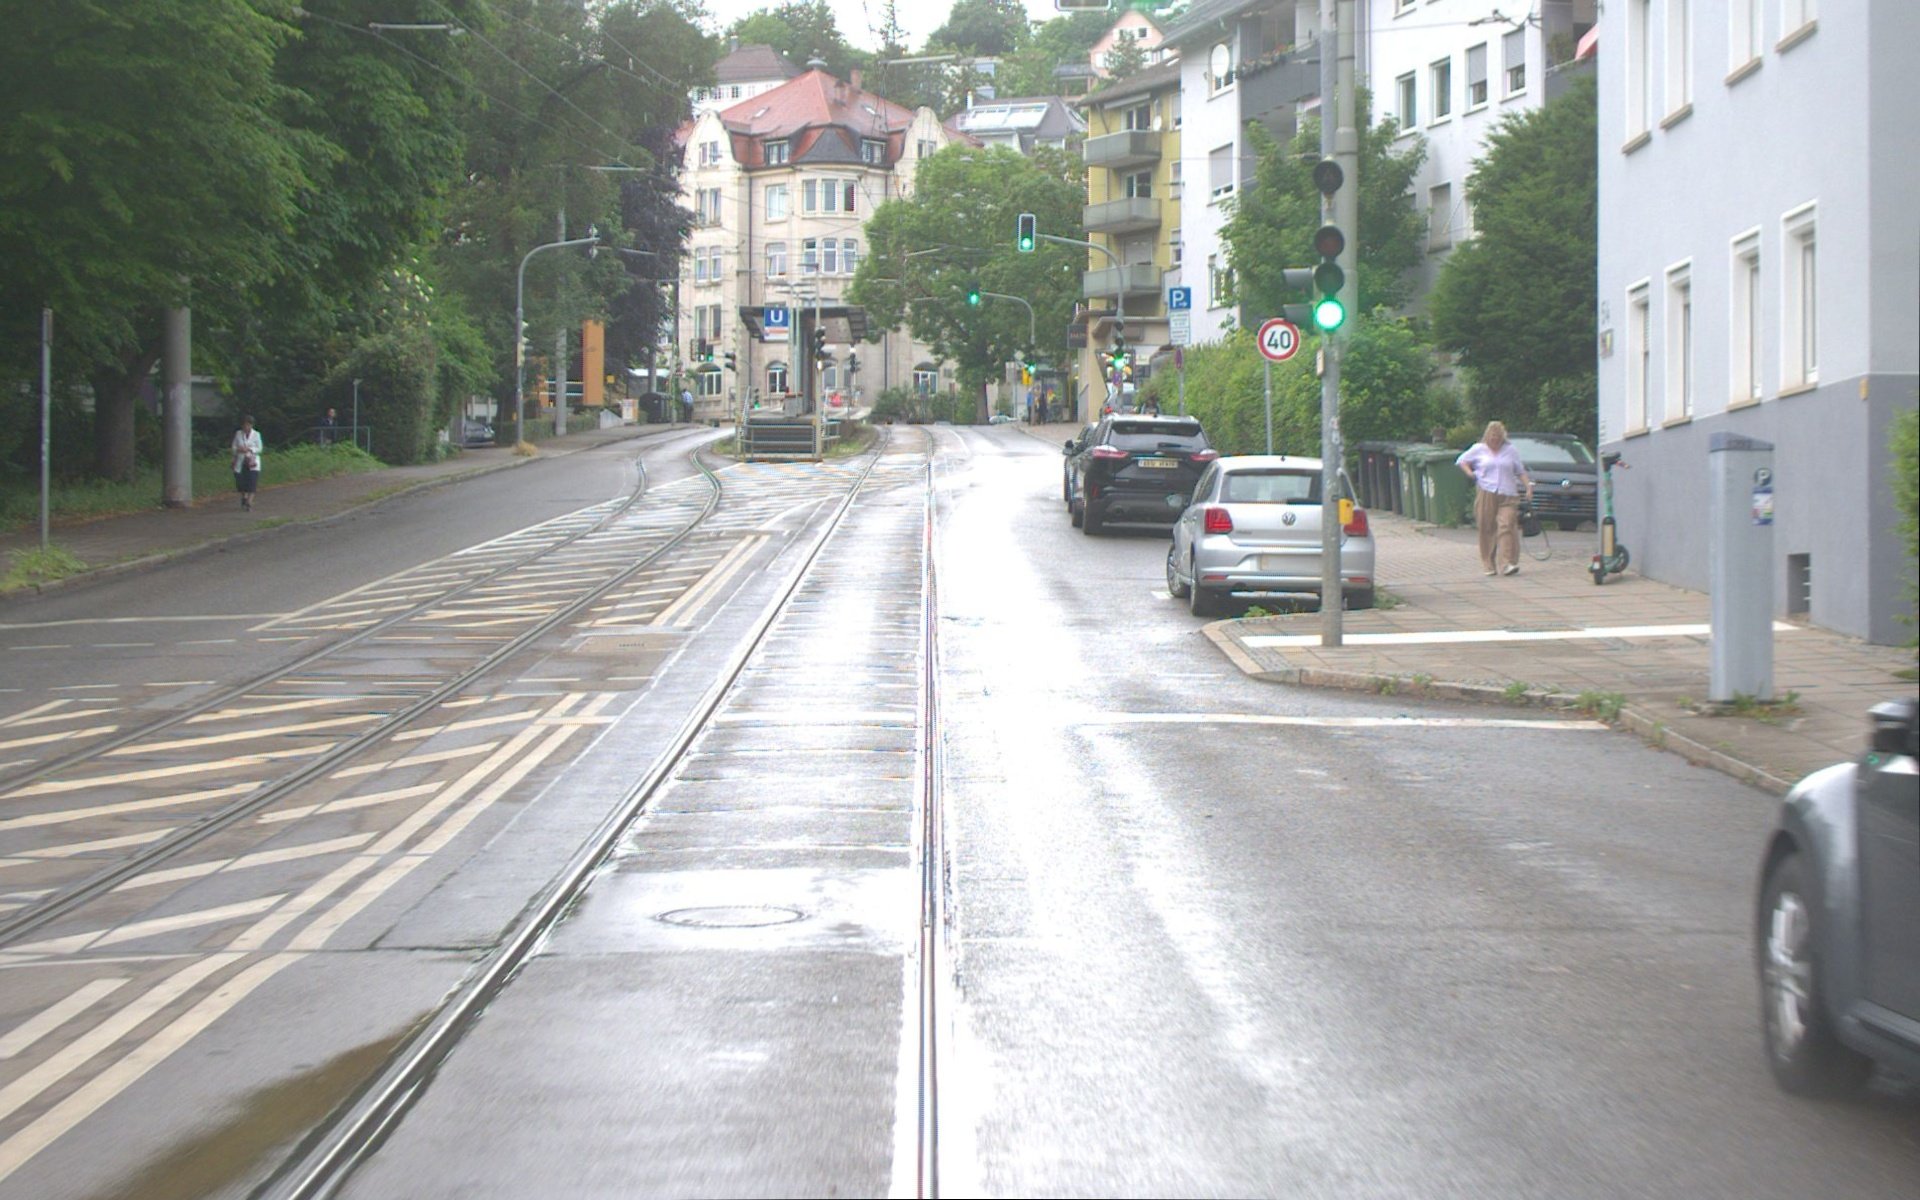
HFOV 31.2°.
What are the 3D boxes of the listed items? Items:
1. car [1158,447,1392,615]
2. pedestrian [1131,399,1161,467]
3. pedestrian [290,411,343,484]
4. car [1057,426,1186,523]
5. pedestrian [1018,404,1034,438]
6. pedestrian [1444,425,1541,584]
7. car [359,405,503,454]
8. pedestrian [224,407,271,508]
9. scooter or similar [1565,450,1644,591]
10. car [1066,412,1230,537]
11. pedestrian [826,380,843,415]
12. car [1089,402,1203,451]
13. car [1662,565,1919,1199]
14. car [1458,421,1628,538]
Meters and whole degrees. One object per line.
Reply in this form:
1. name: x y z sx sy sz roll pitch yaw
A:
1. car: 2.940 -0.710 32.824 1.704 1.428 4.102 2 3 -2
2. pedestrian: 4.489 -4.012 82.787 0.644 1.623 0.699 1 1 8
3. pedestrian: -15.242 -3.610 81.440 0.917 1.672 0.739 1 -1 27
4. car: 2.546 -2.034 54.978 1.704 1.423 4.251 2 3 -2
5. pedestrian: 2.917 -7.907 152.045 0.578 1.462 0.544 1 -1 -8
6. pedestrian: 5.476 -0.990 35.377 0.882 1.577 0.801 -1 4 2
7. car: -16.107 -5.182 104.684 3.991 1.401 1.681 1 -1 22
8. pedestrian: -11.604 -2.319 56.025 0.583 1.594 0.869 3 2 -4
9. scooter or similar: 6.252 -0.785 33.386 0.575 1.245 1.610 -2 5 5
10. car: 2.613 -1.813 48.895 1.906 1.636 4.690 2 3 -2
11. pedestrian: -5.451 -8.779 149.089 0.657 1.462 0.772 0 -1 2
12. car: 6.791 -6.336 125.655 3.987 1.640 1.808 1 1 -1
13. car: 3.114 0.673 7.890 1.939 1.459 4.207 1 1 -3
14. car: 8.637 -1.756 51.255 1.720 1.509 4.204 1 -1 -1
